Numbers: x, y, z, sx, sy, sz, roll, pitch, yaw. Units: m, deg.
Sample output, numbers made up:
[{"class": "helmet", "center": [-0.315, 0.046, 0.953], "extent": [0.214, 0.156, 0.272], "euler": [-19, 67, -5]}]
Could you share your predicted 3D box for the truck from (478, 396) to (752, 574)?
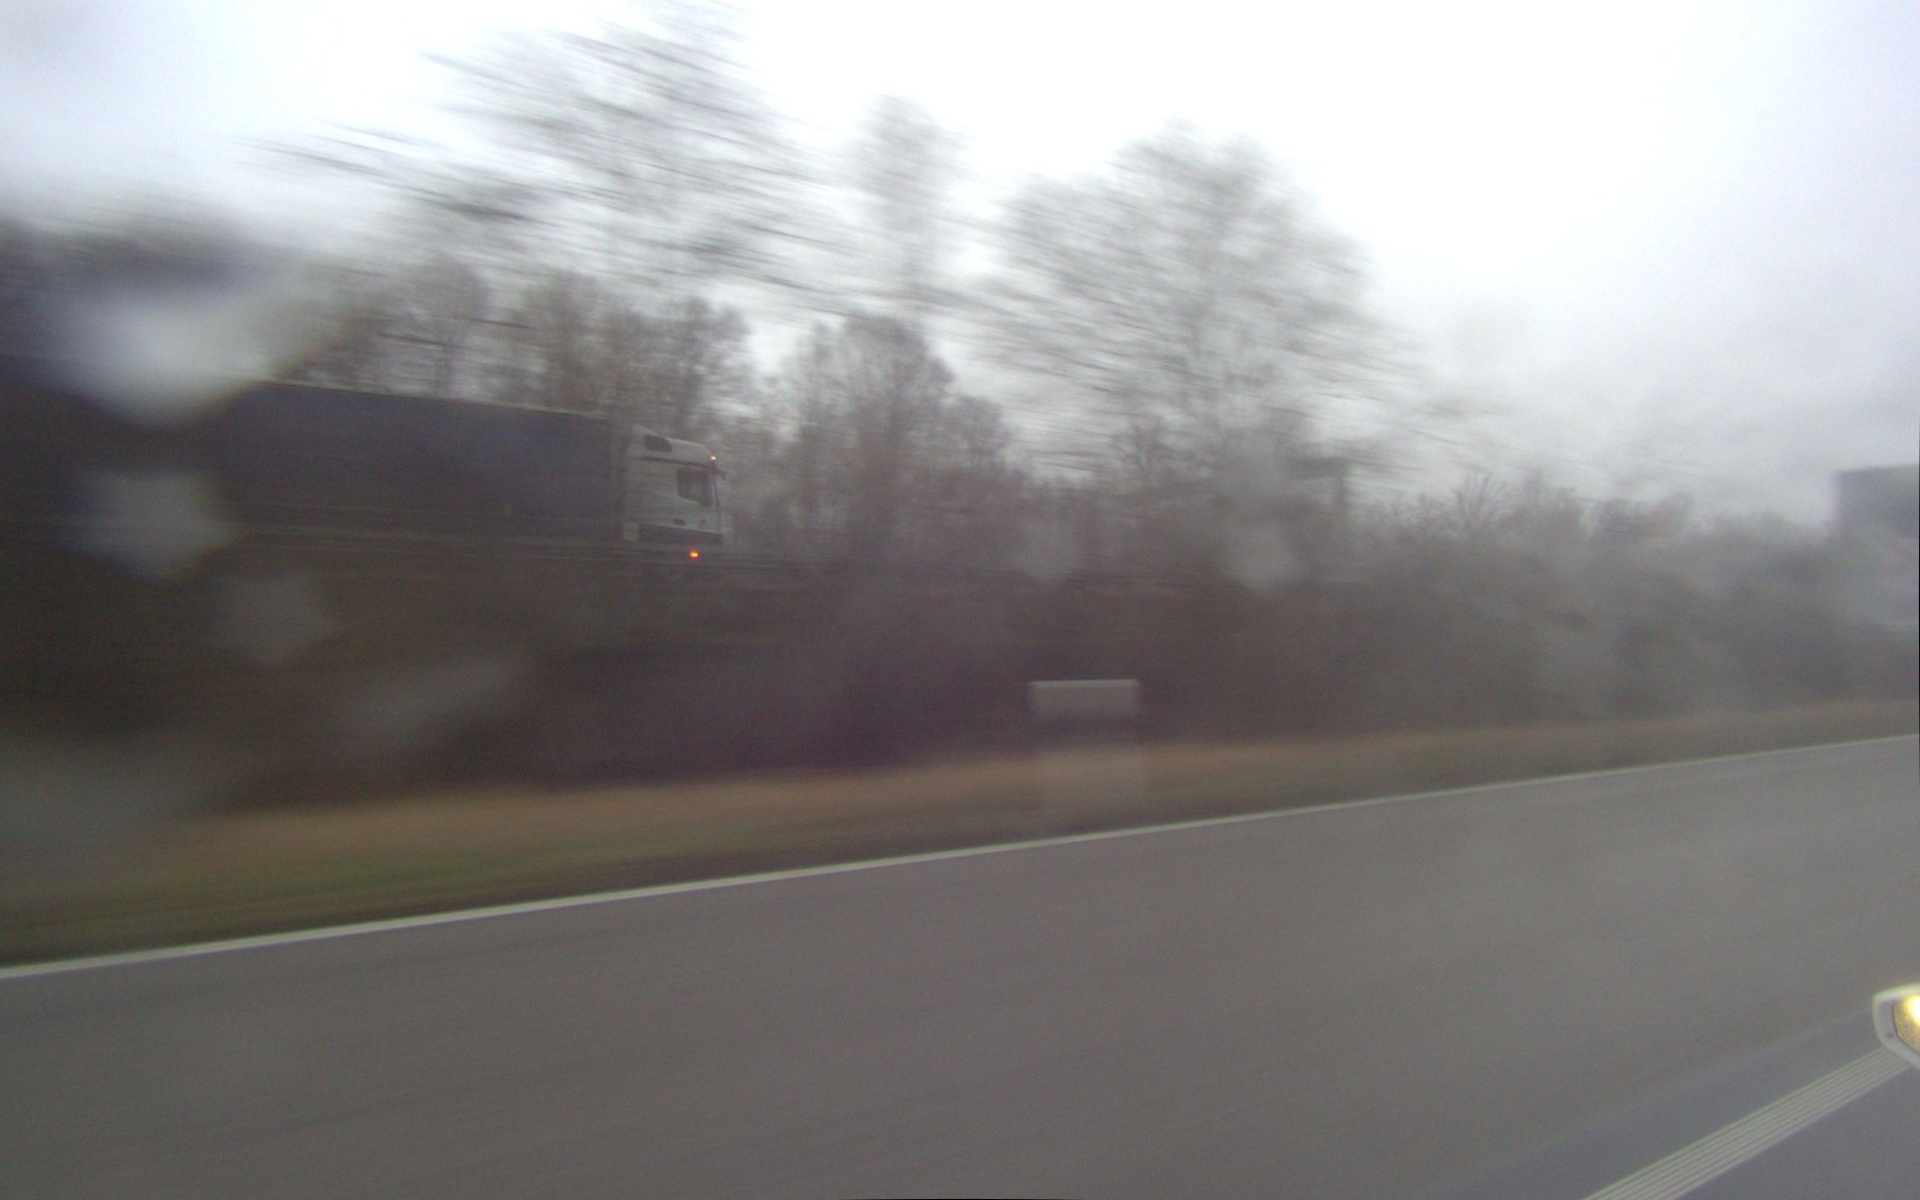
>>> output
[{"class": "truck", "center": [-8.515, -2.599, 24.883], "extent": [5.995, 3.680, 2.978], "euler": [1, 0, -30]}]

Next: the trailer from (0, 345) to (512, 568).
[{"class": "trailer", "center": [-15.550, -2.695, 20.754], "extent": [11.252, 3.682, 2.984], "euler": [1, 0, -30]}]
